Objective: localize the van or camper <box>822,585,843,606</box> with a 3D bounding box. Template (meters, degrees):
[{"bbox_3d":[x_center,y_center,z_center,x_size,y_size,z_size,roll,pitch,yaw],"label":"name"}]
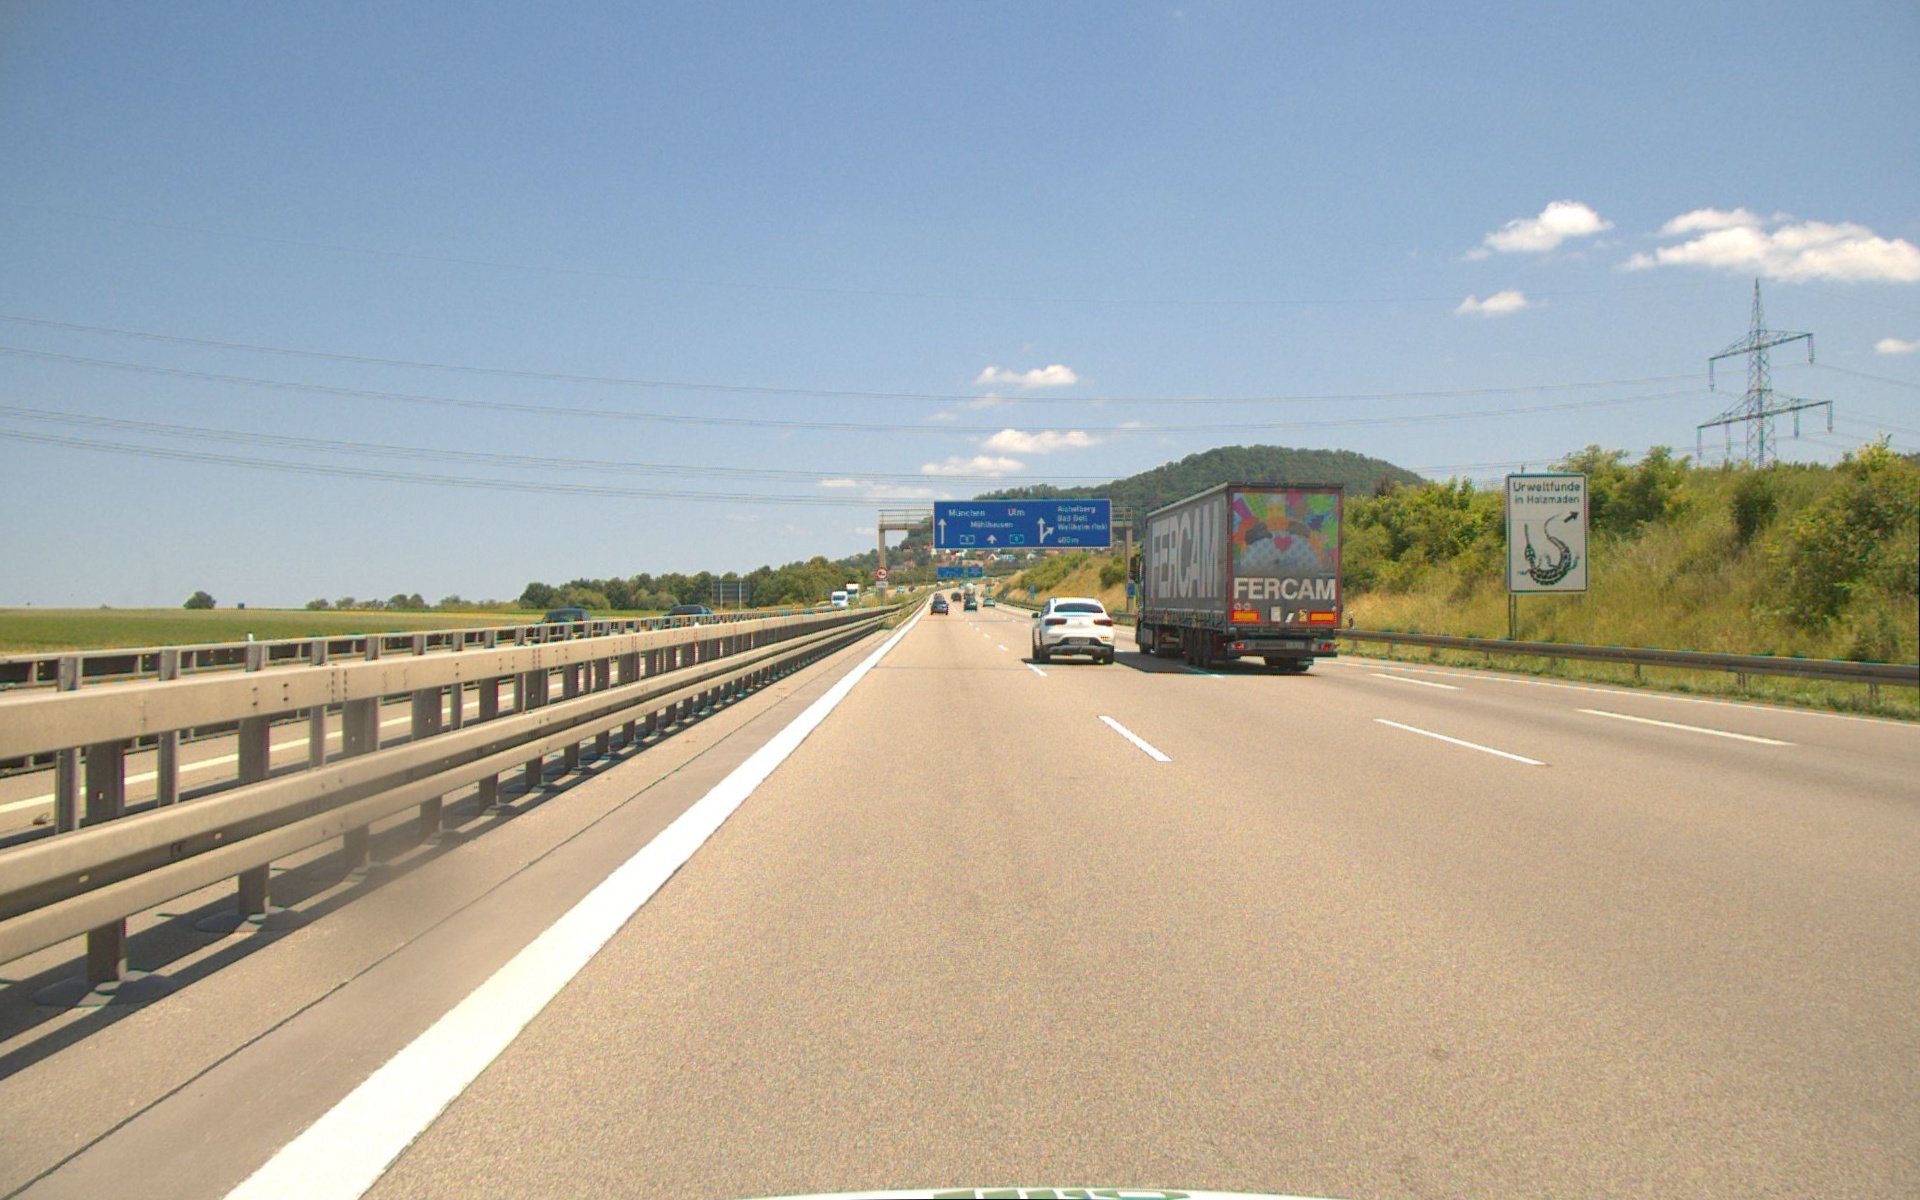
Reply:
[{"bbox_3d":[-16.216,-0.558,209.969,2.182,2.552,6.596,1,0,-1],"label":"van or camper"}]

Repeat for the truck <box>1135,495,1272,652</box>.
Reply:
[{"bbox_3d":[6.767,-0.681,46.881,2.696,4.091,6.786,1,0,-1],"label":"truck"}]

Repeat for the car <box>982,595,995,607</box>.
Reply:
[{"bbox_3d":[4.484,0.135,257.624,1.953,1.850,4.000,-1,0,0],"label":"car"}]

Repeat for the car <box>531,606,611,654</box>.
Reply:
[{"bbox_3d":[-13.073,0.994,55.804,1.637,1.465,4.564,-3,-1,-1],"label":"car"}]

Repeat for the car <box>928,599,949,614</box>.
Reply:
[{"bbox_3d":[-2.005,0.601,157.076,1.953,1.413,4.000,1,0,0],"label":"car"}]

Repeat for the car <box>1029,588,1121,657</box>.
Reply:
[{"bbox_3d":[2.865,0.551,42.313,1.875,1.608,5.229,1,0,-1],"label":"car"}]

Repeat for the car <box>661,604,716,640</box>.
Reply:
[{"bbox_3d":[-12.294,0.960,75.179,1.771,1.465,5.281,-3,0,-2],"label":"car"}]

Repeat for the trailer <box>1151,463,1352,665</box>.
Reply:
[{"bbox_3d":[6.862,-0.743,40.960,2.670,4.227,11.805,1,0,-1],"label":"trailer"}]

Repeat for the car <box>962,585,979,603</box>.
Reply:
[{"bbox_3d":[1.198,-0.737,196.234,1.953,2.049,3.999,1,0,0],"label":"car"}]
